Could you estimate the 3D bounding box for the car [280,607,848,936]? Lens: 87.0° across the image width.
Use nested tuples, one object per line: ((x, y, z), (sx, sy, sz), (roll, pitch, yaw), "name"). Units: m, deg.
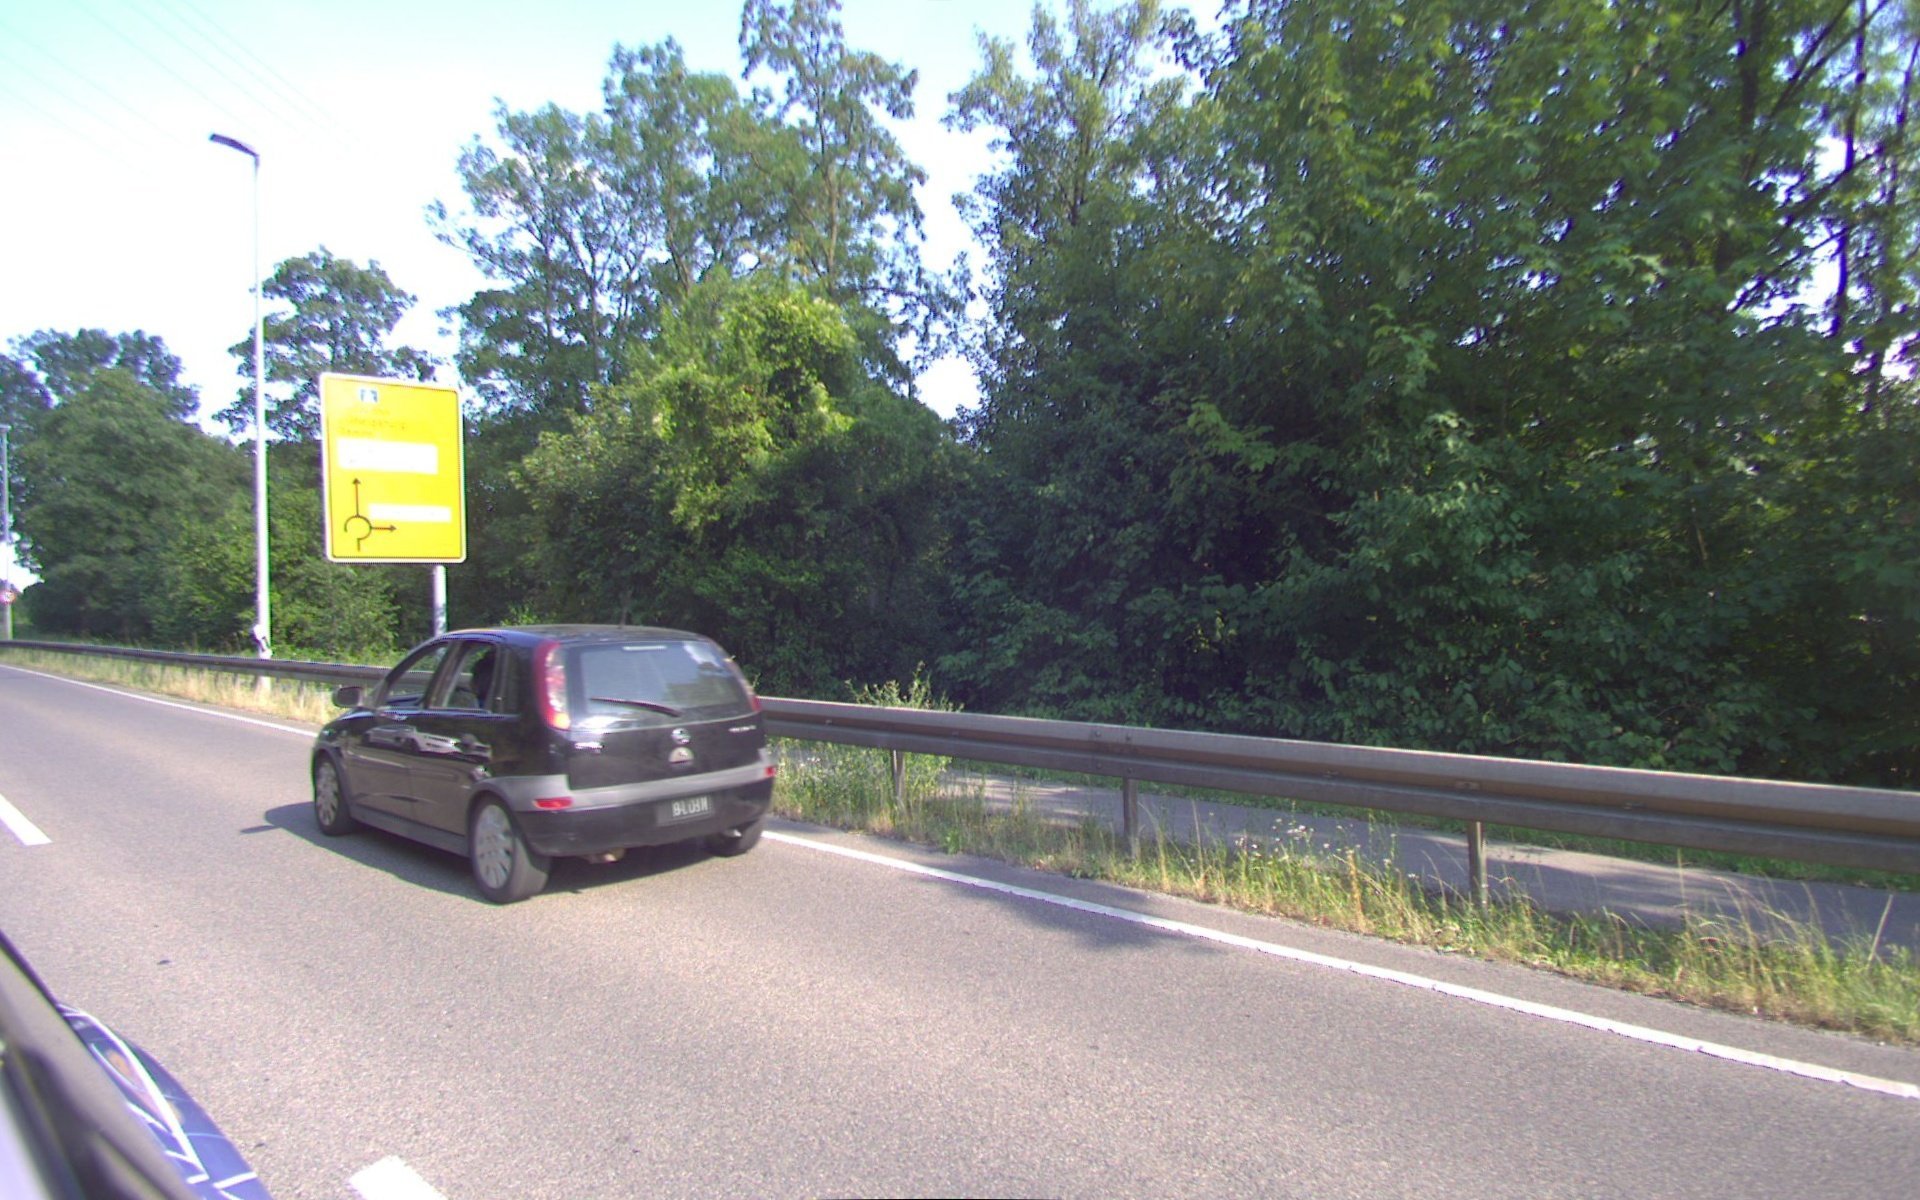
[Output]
((-2.692, 0.800, 6.416), (3.997, 1.453, 1.664), (-1, -1, 40), "car")
